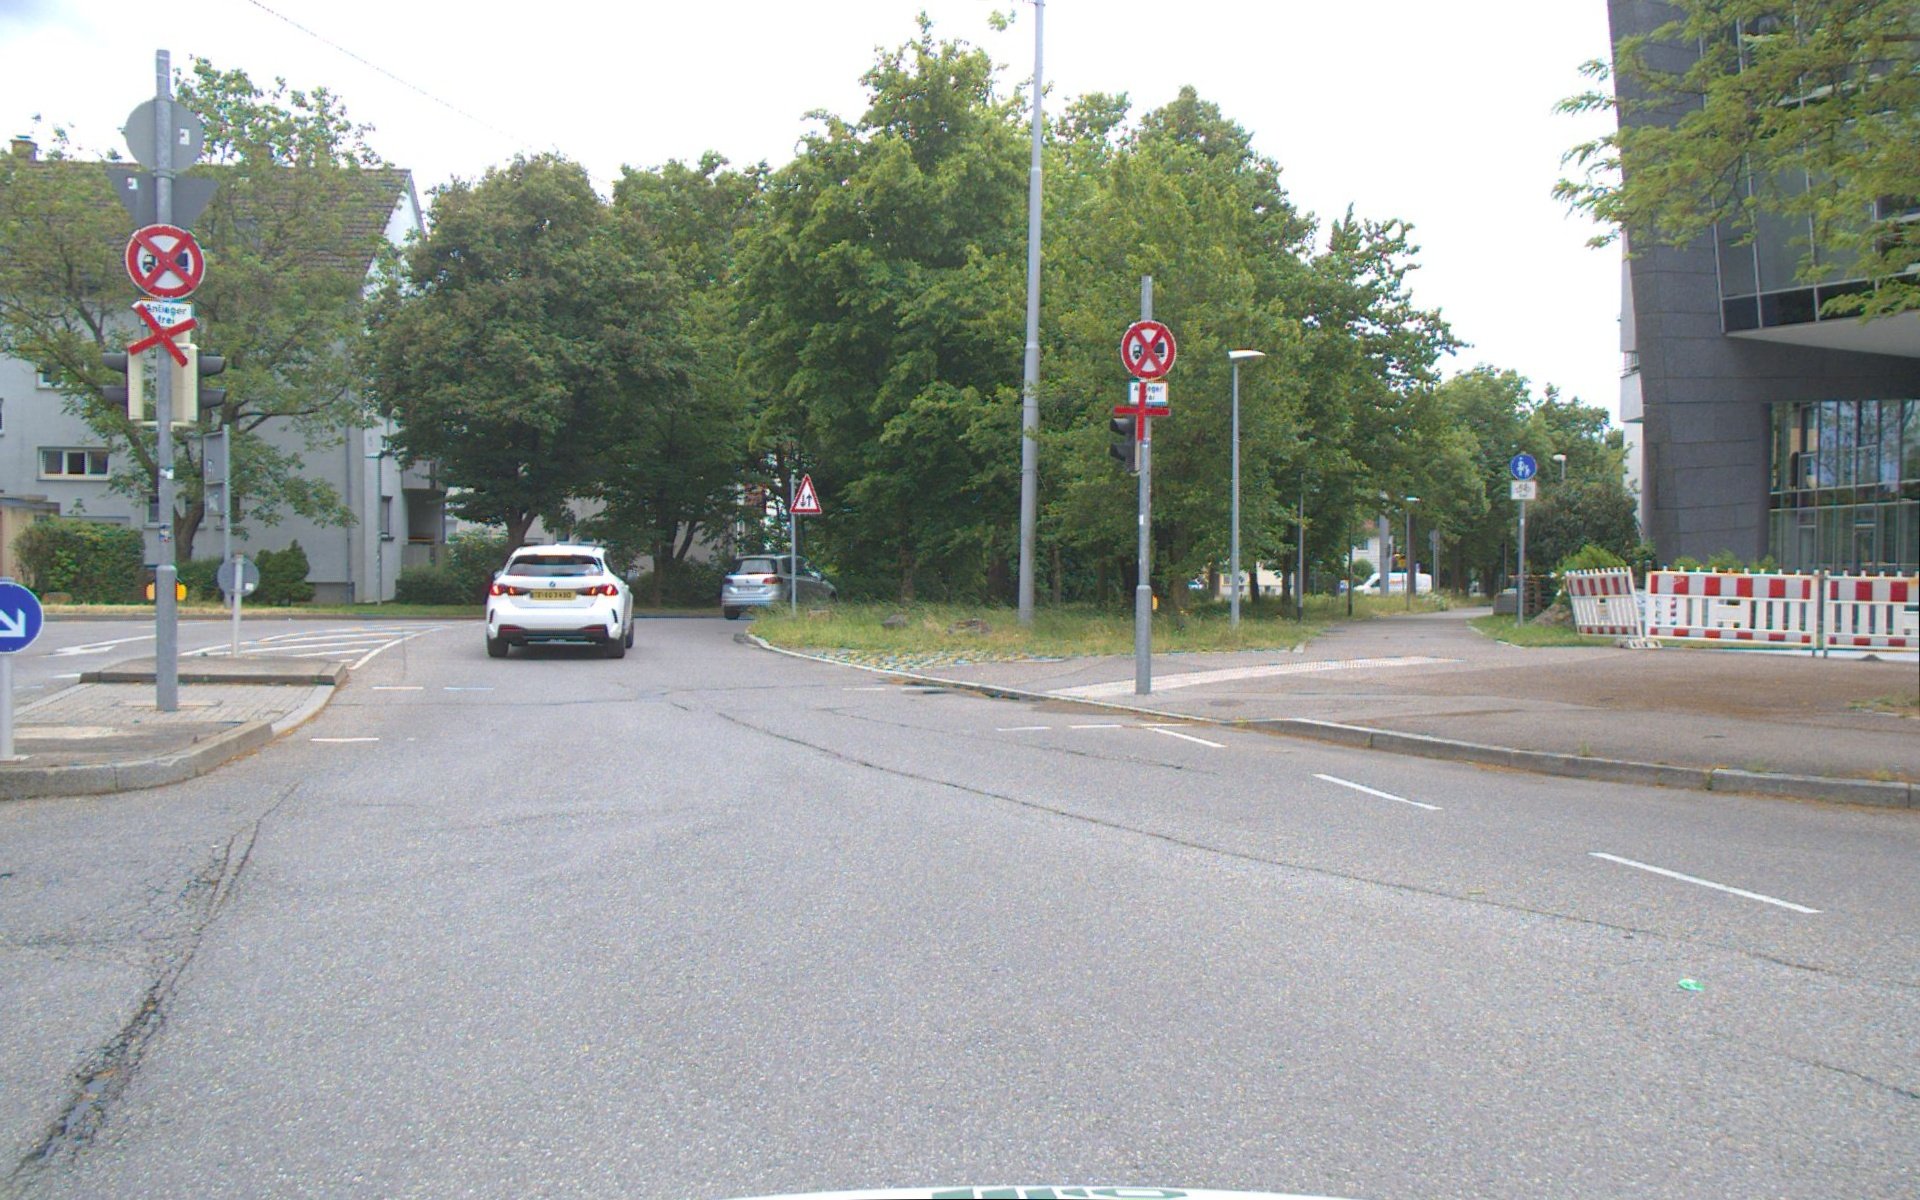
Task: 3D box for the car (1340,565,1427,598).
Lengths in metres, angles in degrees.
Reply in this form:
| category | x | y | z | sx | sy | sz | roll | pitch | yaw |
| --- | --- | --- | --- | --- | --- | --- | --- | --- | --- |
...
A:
| category | x | y | z | sx | sy | sz | roll | pitch | yaw |
| --- | --- | --- | --- | --- | --- | --- | --- | --- | --- |
| car | 35.723 | -1.530 | 139.584 | 6.825 | 2.565 | 2.082 | 1 | 2 | -7 |

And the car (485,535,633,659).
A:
| category | x | y | z | sx | sy | sz | roll | pitch | yaw |
| --- | --- | --- | --- | --- | --- | --- | --- | --- | --- |
| car | -5.494 | -0.033 | 23.074 | 1.763 | 1.544 | 4.196 | 1 | 0 | -11 |

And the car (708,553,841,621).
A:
| category | x | y | z | sx | sy | sz | roll | pitch | yaw |
| --- | --- | --- | --- | --- | --- | --- | --- | --- | --- |
| car | -4.515 | -0.318 | 40.903 | 1.882 | 1.601 | 4.003 | 0 | 0 | 16 |
